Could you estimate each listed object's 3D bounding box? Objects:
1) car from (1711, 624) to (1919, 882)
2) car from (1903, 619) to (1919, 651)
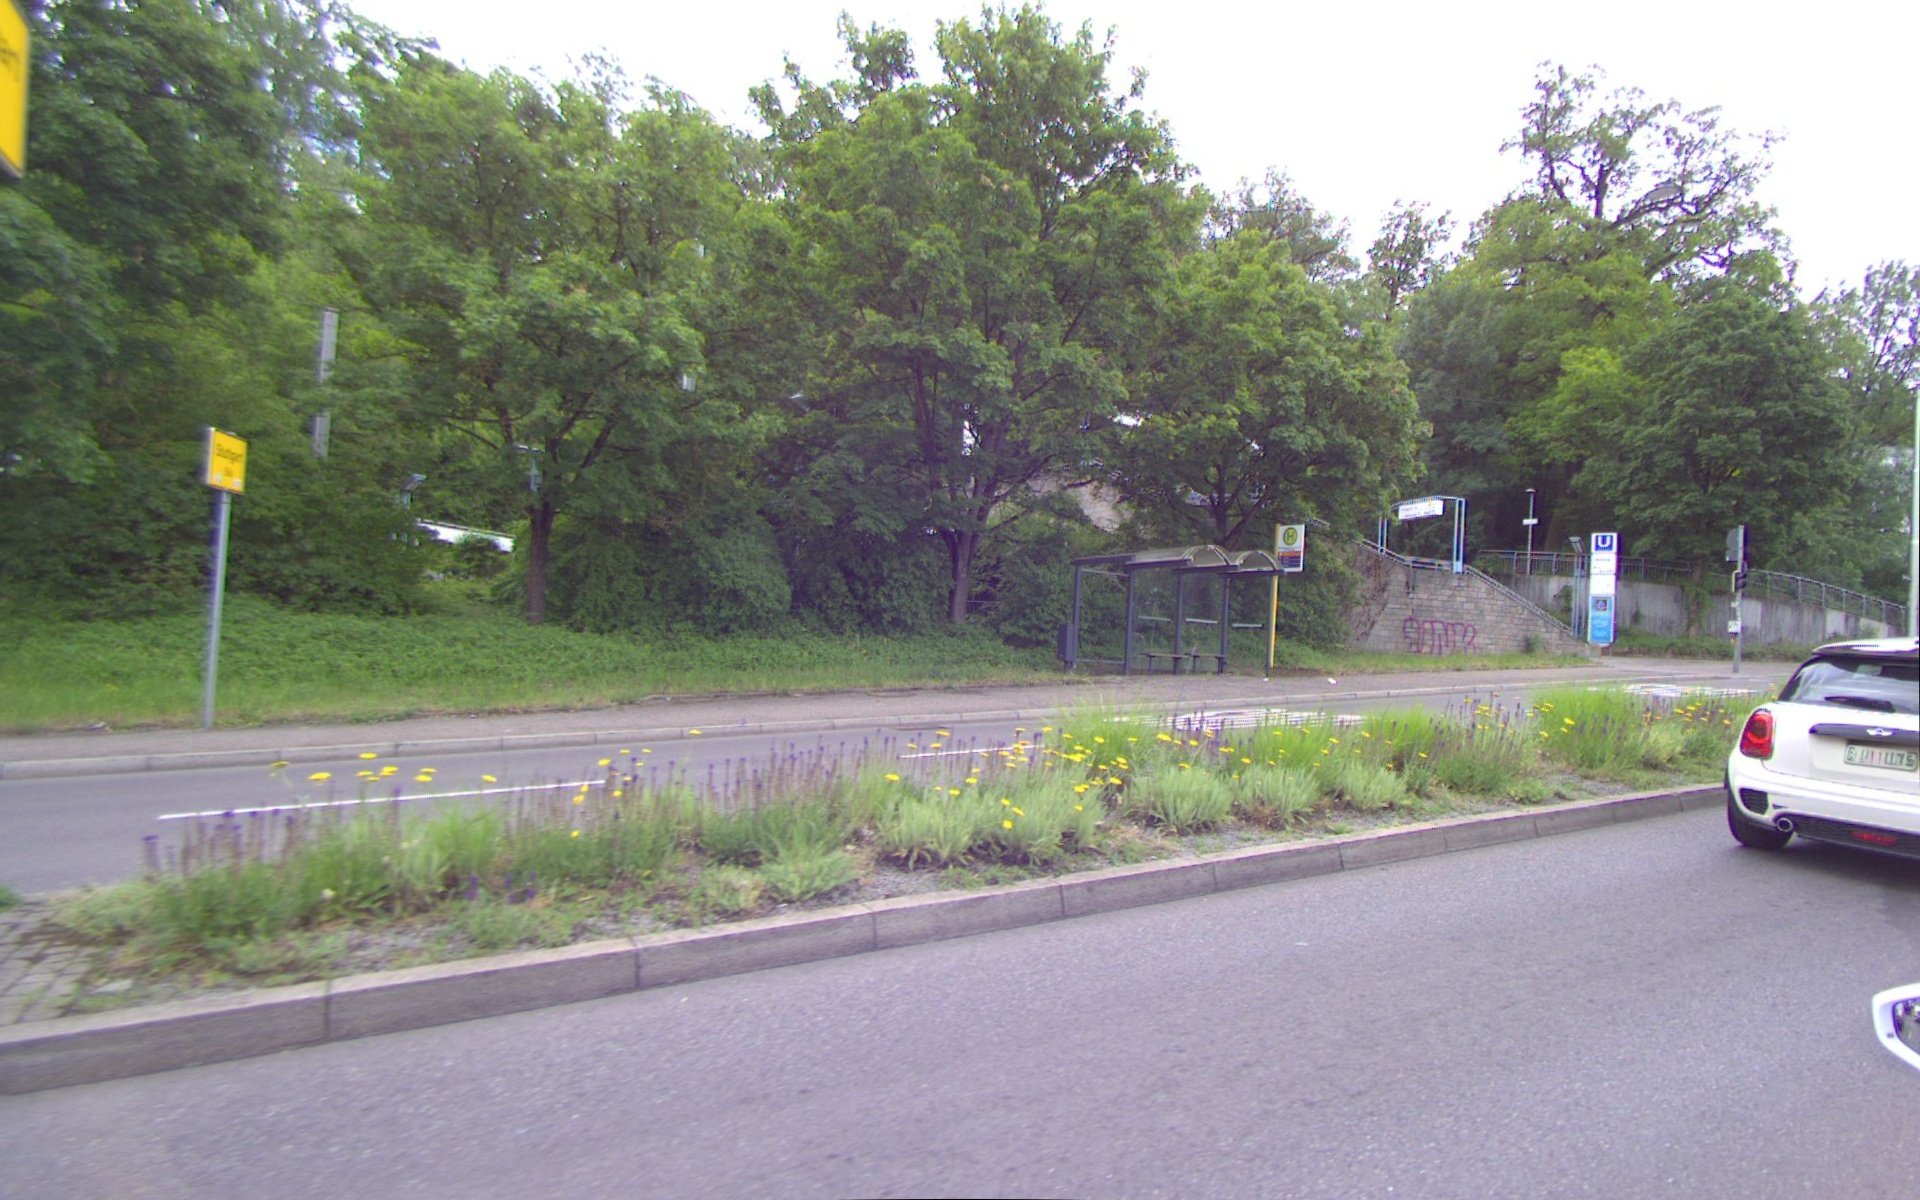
[{"bbox_3d":[6.730,0.889,6.598,3.523,1.412,1.621,1,-1,-29],"label":"car"},{"bbox_3d":[48.327,1.823,49.368,2.668,1.540,1.558,5,2,37],"label":"car"}]
